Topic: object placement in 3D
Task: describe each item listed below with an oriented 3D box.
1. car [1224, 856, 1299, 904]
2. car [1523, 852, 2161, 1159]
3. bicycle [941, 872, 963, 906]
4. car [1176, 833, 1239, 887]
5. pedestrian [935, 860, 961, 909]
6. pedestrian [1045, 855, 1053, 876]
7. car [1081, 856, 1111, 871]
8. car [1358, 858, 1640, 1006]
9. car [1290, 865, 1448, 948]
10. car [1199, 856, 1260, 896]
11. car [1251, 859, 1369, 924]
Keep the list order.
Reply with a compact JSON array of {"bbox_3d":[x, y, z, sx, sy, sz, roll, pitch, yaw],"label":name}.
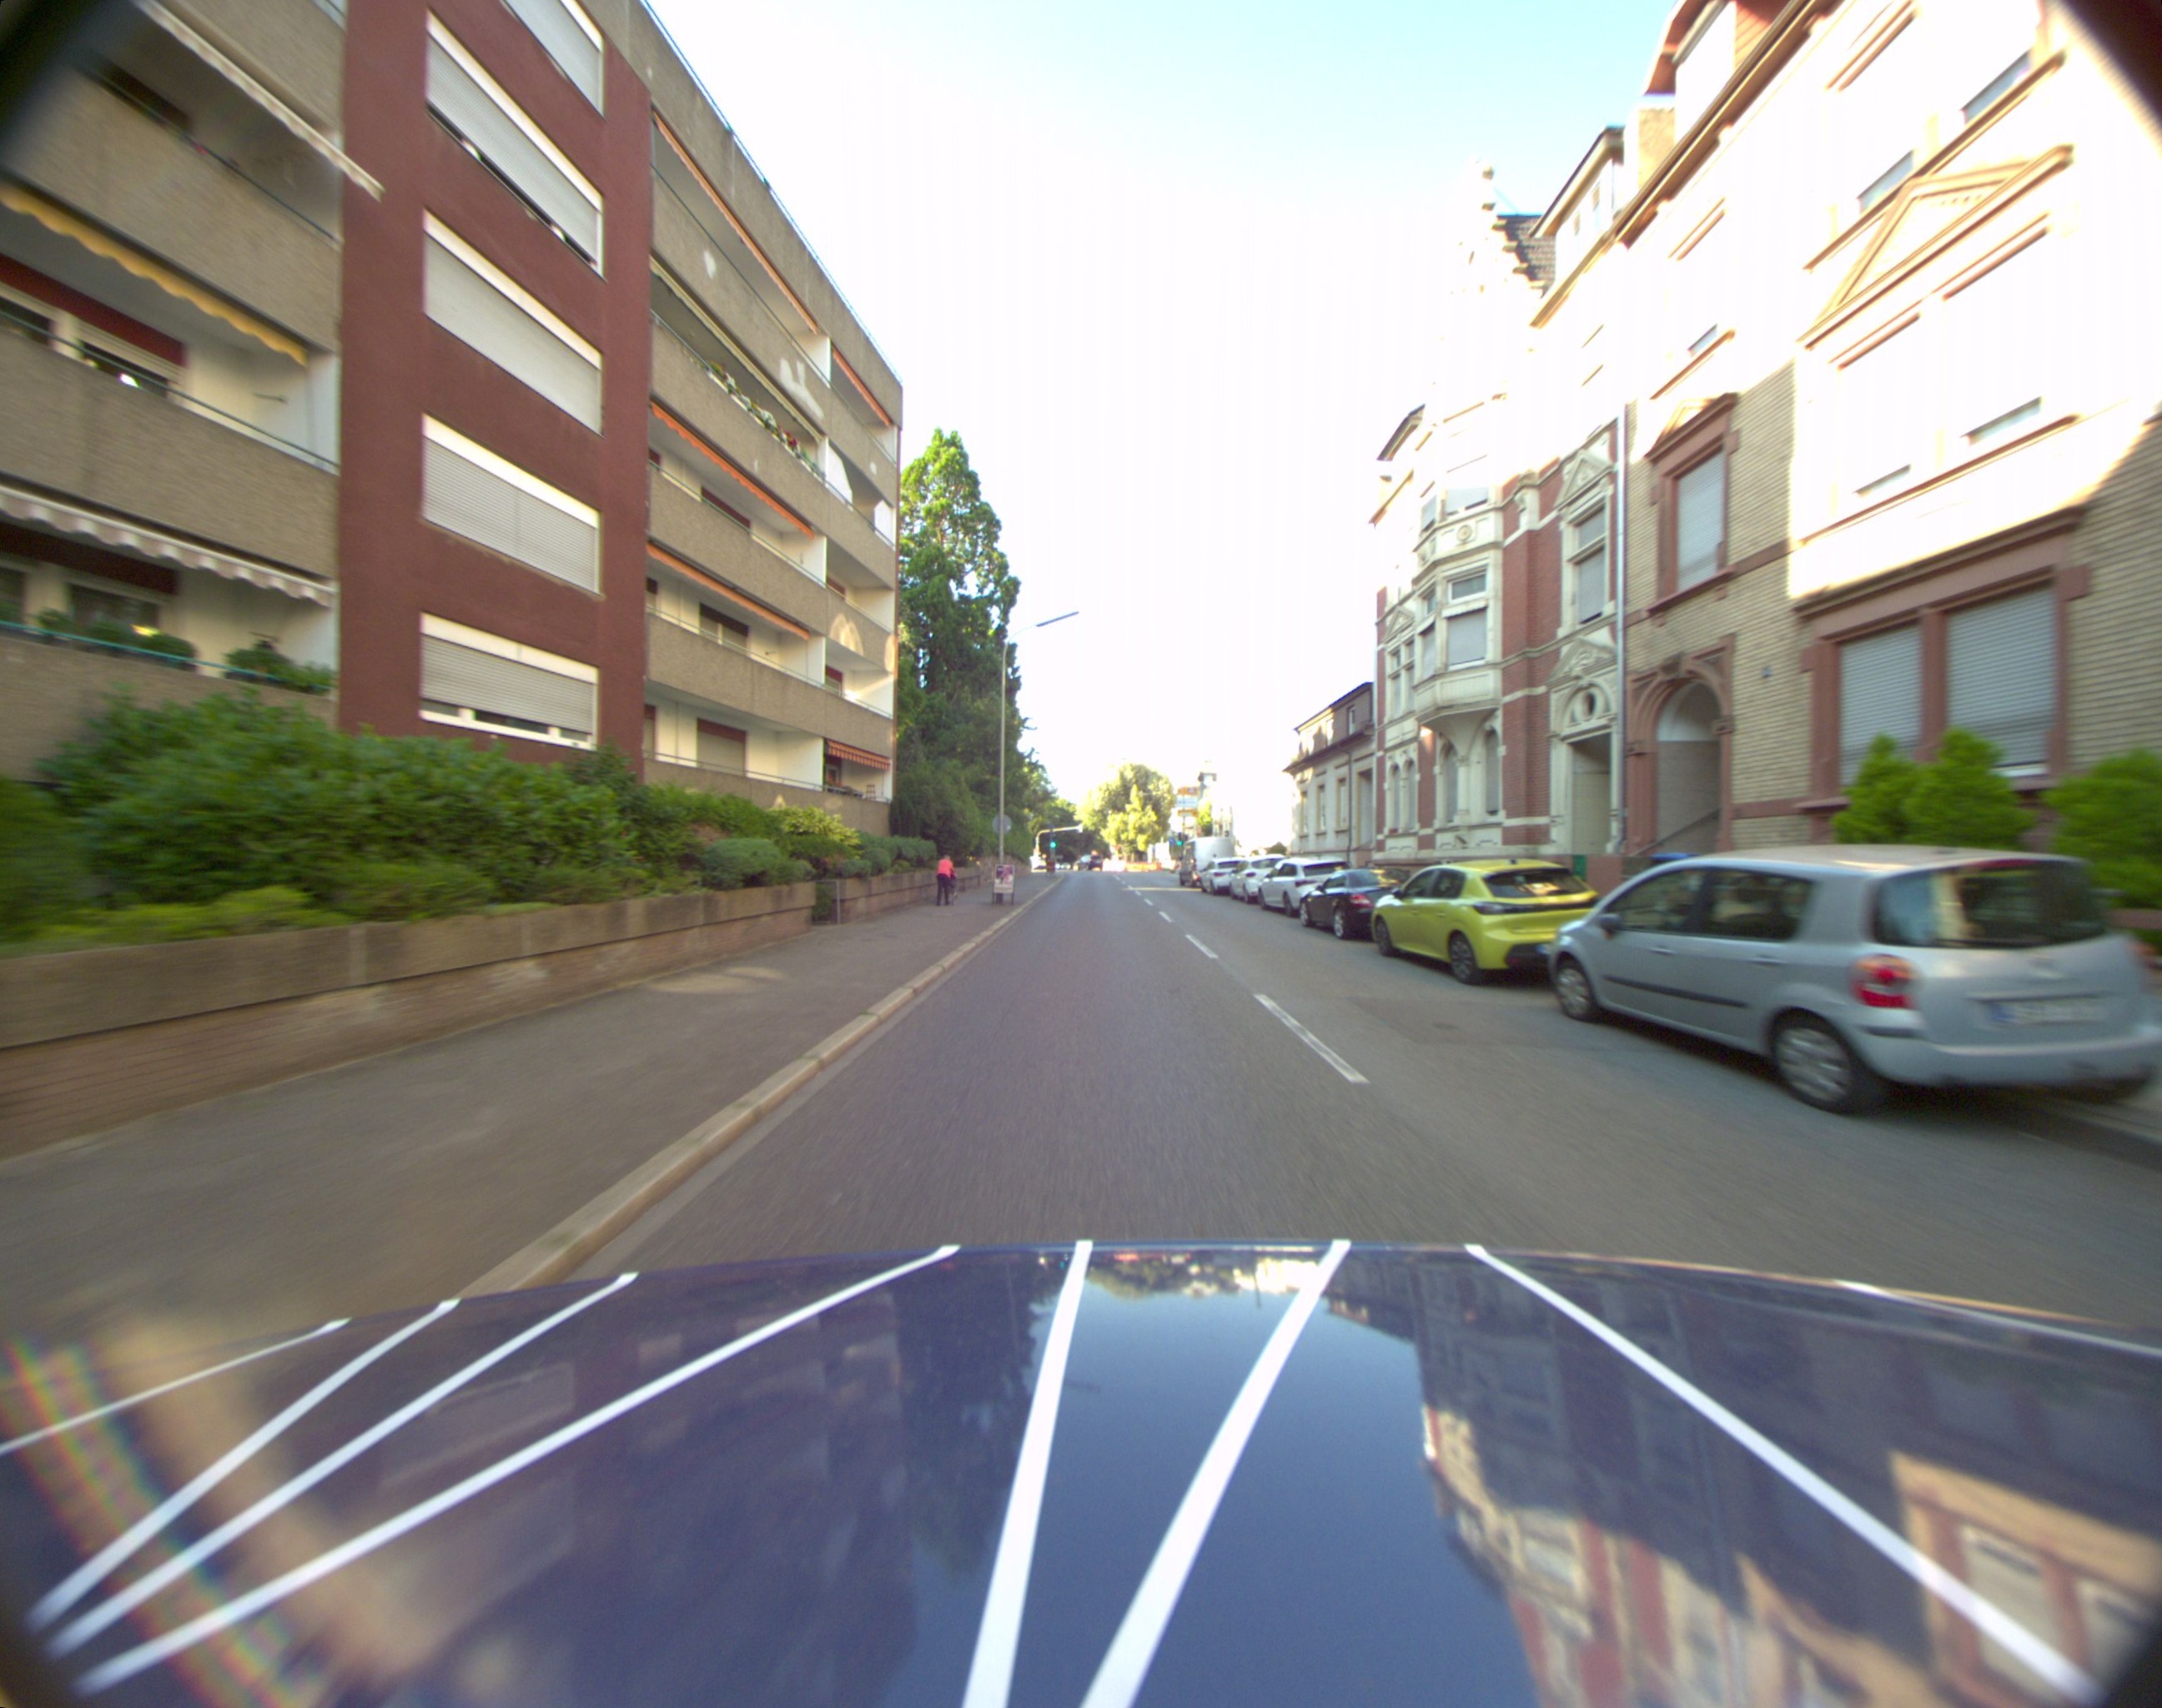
[{"bbox_3d":[6.090,0.824,26.046,1.706,1.494,4.021,-1,0,2],"label":"car"},{"bbox_3d":[5.187,0.796,5.743,1.706,1.574,3.636,-1,0,3],"label":"car"},{"bbox_3d":[-3.795,1.023,22.396,0.567,0.964,0.492,-1,0,-1],"label":"bicycle"},{"bbox_3d":[6.165,0.279,37.749,2.073,2.446,6.014,-1,0,0],"label":"car"},{"bbox_3d":[-3.808,0.867,21.780,0.599,1.394,0.668,-1,0,-1],"label":"pedestrian"},{"bbox_3d":[-2.608,0.926,62.009,0.604,1.683,0.612,1,0,0],"label":"pedestrian"},{"bbox_3d":[1.644,1.084,84.195,1.961,1.639,4.277,-1,-1,-20],"label":"car"},{"bbox_3d":[5.347,0.879,10.409,1.706,1.494,4.072,-1,1,2],"label":"car"},{"bbox_3d":[5.530,0.938,15.121,1.706,1.358,3.860,-1,0,1],"label":"car"},{"bbox_3d":[5.937,0.832,30.820,1.707,1.494,3.823,-1,0,0],"label":"car"},{"bbox_3d":[5.993,0.912,20.474,1.707,1.527,4.548,-1,0,-1],"label":"car"}]
